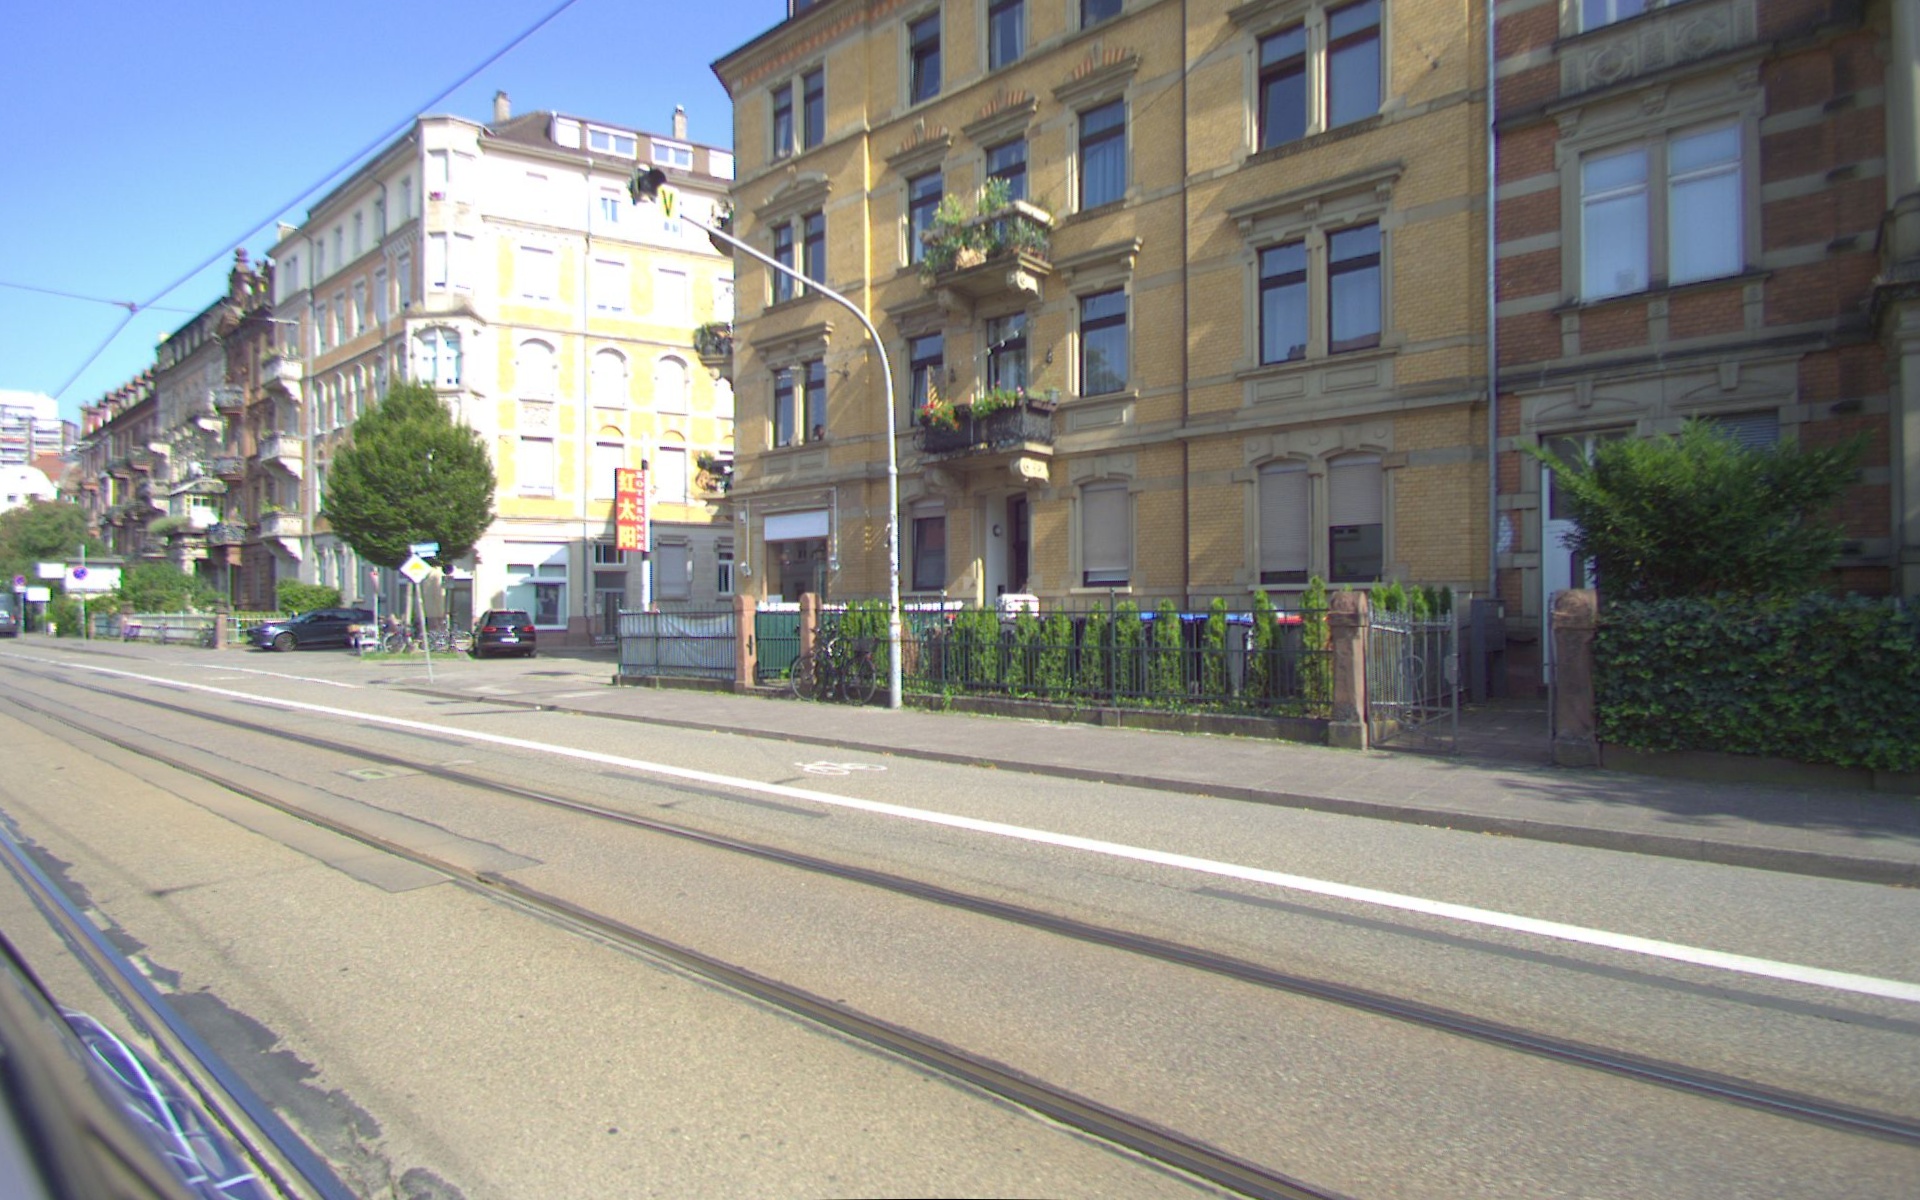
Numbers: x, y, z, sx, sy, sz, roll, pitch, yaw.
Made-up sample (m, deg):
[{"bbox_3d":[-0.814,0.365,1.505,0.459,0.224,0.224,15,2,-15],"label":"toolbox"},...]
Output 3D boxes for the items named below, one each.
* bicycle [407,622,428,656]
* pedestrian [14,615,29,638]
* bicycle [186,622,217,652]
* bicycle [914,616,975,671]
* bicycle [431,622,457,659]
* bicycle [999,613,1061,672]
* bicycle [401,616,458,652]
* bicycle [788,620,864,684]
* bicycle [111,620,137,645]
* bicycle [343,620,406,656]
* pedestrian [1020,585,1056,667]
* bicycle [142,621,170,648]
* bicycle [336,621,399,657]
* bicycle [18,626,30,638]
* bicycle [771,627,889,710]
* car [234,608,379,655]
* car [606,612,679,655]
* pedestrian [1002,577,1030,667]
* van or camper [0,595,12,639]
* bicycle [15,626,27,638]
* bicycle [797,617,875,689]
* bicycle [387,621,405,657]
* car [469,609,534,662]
[{"bbox_3d":[-18.358,1.295,34.228,0.534,1.098,1.842,1,-1,-31],"label":"bicycle"},{"bbox_3d":[-68.598,1.922,74.004,0.631,1.691,0.632,-1,-1,29],"label":"pedestrian"},{"bbox_3d":[-28.362,1.367,37.830,1.839,1.066,0.539,-1,3,42],"label":"bicycle"},{"bbox_3d":[-0.294,0.848,20.223,0.416,1.068,1.469,-1,-1,37],"label":"bicycle"},{"bbox_3d":[-17.708,1.364,34.724,0.534,1.239,1.777,1,-1,-36],"label":"bicycle"},{"bbox_3d":[1.324,0.777,18.896,0.416,1.068,1.469,-1,-1,37],"label":"bicycle"},{"bbox_3d":[-18.965,1.214,36.216,1.744,1.266,0.544,1,-2,-36],"label":"bicycle"},{"bbox_3d":[-2.323,0.880,17.716,0.416,1.068,1.469,-1,-1,37],"label":"bicycle"},{"bbox_3d":[-38.198,1.490,46.255,1.839,1.066,0.600,-1,3,42],"label":"bicycle"},{"bbox_3d":[-20.059,1.284,34.726,0.541,1.190,1.844,-1,-1,30],"label":"bicycle"},{"bbox_3d":[1.641,0.540,21.203,0.578,1.680,0.546,-1,-1,30],"label":"pedestrian"},{"bbox_3d":[-33.693,1.427,42.399,1.839,1.066,0.539,-1,3,42],"label":"bicycle"},{"bbox_3d":[-20.444,1.324,34.952,0.541,1.206,1.834,-1,-1,30],"label":"bicycle"},{"bbox_3d":[-68.902,2.354,74.482,1.703,0.934,0.520,-2,-1,44],"label":"bicycle"},{"bbox_3d":[-1.922,0.968,14.762,2.002,1.116,0.503,-1,-1,41],"label":"bicycle"},{"bbox_3d":[-24.179,1.113,37.547,2.063,1.554,4.096,0,1,39],"label":"car"},{"bbox_3d":[-11.951,1.216,37.964,1.738,1.538,3.779,0,-1,-31],"label":"car"},{"bbox_3d":[1.172,0.460,21.244,0.572,1.863,0.551,0,-1,1],"label":"pedestrian"},{"bbox_3d":[-60.390,1.018,62.924,2.026,2.664,6.096,1,-1,-43],"label":"van or camper"},{"bbox_3d":[-70.166,2.408,75.609,1.703,0.866,0.520,-2,-1,44],"label":"bicycle"},{"bbox_3d":[-1.981,0.830,16.293,0.416,1.068,1.345,-1,1,37],"label":"bicycle"},{"bbox_3d":[-18.895,1.300,33.899,0.475,1.168,1.778,1,-1,-30],"label":"bicycle"},{"bbox_3d":[-15.894,1.175,34.967,1.738,1.673,3.780,-2,1,-28],"label":"car"}]
